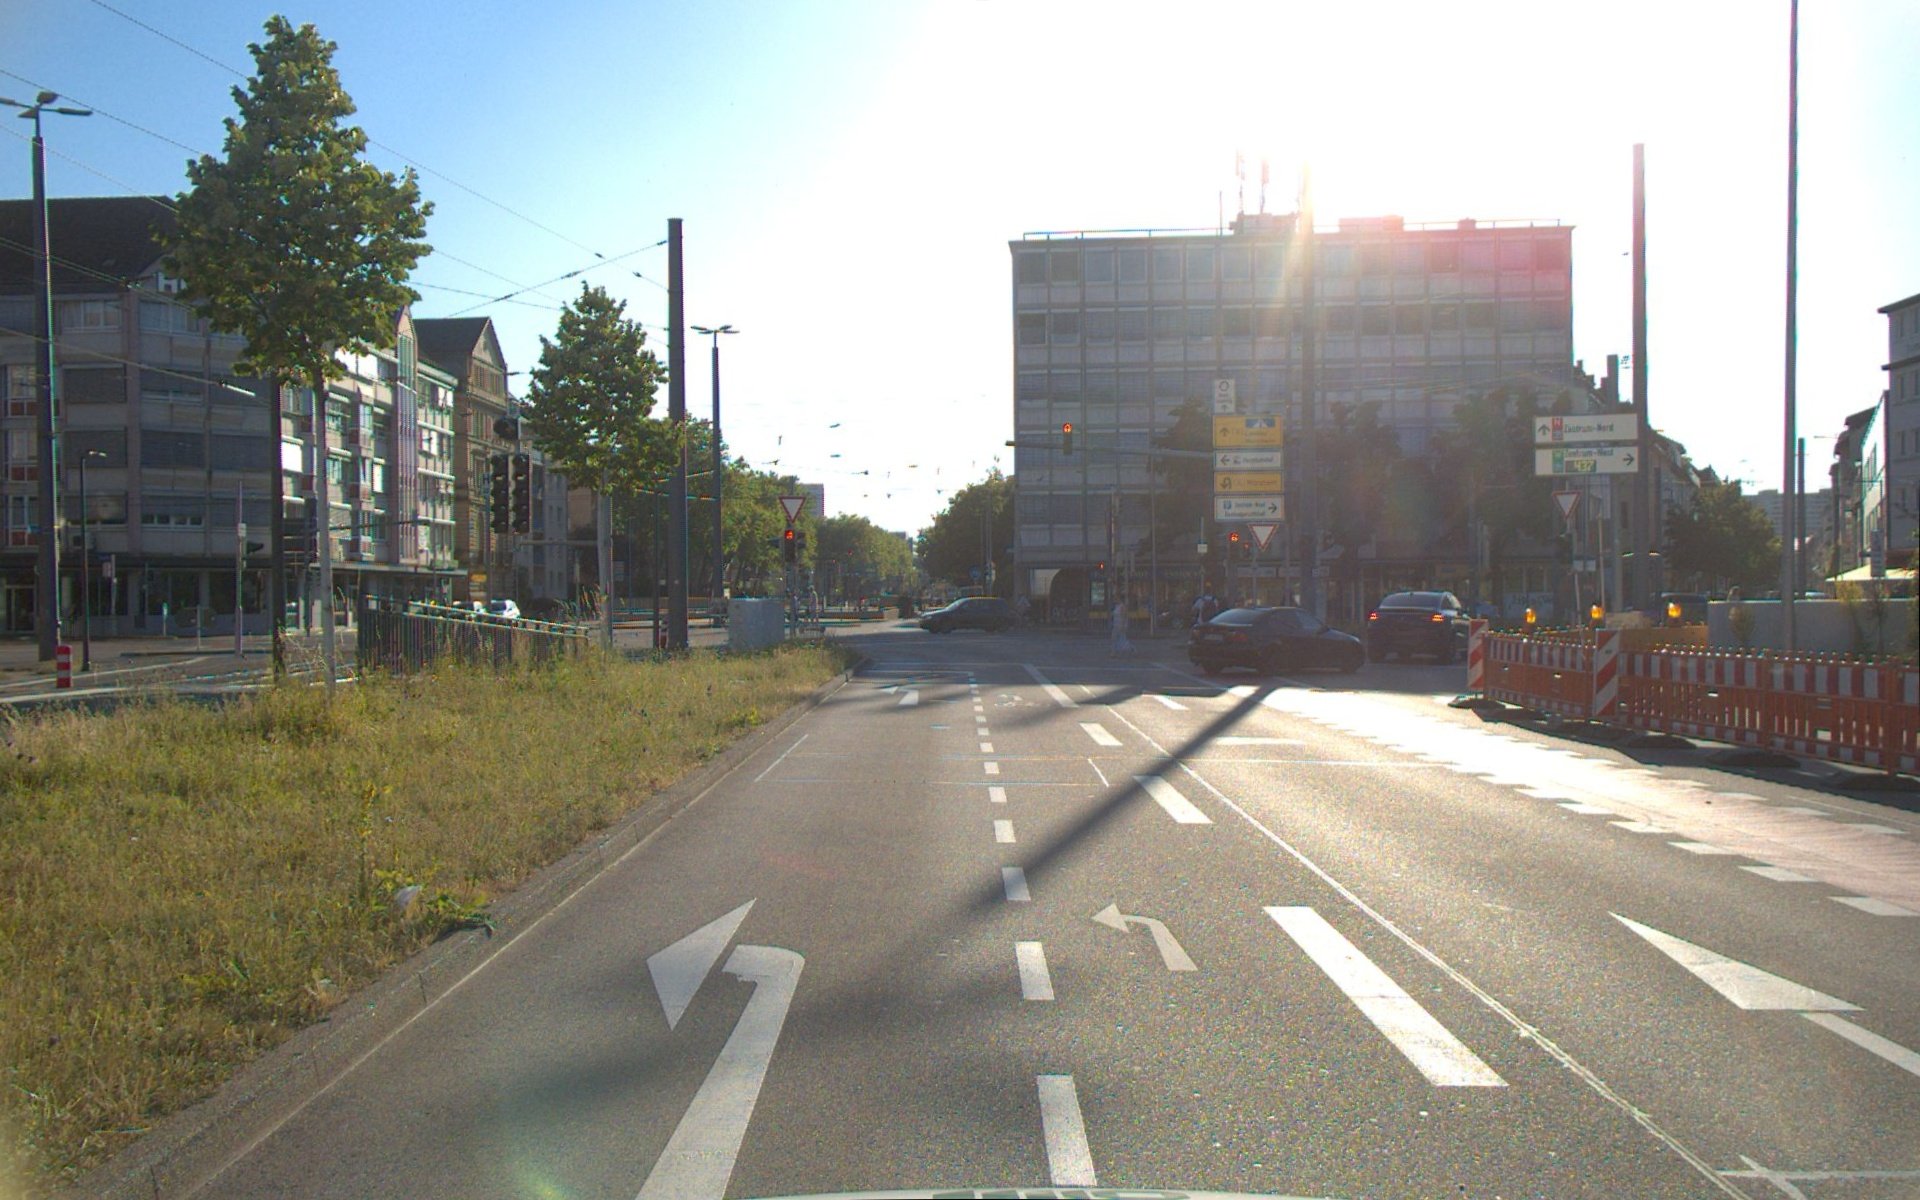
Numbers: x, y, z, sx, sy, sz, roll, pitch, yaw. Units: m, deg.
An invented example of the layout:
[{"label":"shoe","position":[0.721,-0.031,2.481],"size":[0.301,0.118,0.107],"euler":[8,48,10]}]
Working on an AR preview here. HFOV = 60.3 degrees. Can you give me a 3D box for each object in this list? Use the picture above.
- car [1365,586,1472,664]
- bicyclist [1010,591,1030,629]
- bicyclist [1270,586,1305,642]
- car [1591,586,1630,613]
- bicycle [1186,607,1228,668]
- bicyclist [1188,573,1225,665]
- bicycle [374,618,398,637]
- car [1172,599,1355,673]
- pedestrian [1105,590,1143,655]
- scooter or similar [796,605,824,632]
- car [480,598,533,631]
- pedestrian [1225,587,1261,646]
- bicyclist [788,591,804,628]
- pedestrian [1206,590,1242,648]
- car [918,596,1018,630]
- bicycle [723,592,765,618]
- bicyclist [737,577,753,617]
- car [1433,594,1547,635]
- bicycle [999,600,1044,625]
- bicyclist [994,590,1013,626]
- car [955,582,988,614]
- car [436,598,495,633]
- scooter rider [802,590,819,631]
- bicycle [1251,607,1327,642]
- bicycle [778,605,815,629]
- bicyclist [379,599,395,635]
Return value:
[{"label":"car","position":[11.280,0.559,40.513],"size":[1.954,1.723,3.998],"euler":[1,1,24]},{"label":"bicyclist","position":[2.844,0.476,78.677],"size":[0.881,1.783,0.654],"euler":[-1,0,-5]},{"label":"bicyclist","position":[9.908,0.420,50.091],"size":[0.939,1.690,0.691],"euler":[0,0,3]},{"label":"car","position":[36.860,-0.043,93.801],"size":[1.952,1.422,4.001],"euler":[-1,0,21]},{"label":"bicycle","position":[5.564,0.828,37.405],"size":[0.631,1.244,2.049],"euler":[1,2,0]},{"label":"bicyclist","position":[5.590,0.420,37.535],"size":[0.630,2.048,1.067],"euler":[1,1,0]},{"label":"bicycle","position":[-30.353,1.442,87.434],"size":[0.586,0.931,1.836],"euler":[-1,0,1]},{"label":"car","position":[6.401,0.719,34.679],"size":[3.964,1.451,1.723],"euler":[0,0,-41]},{"label":"pedestrian","position":[4.162,0.567,41.980],"size":[0.860,1.625,0.655],"euler":[-1,0,-1]},{"label":"scooter or similar","position":[-6.354,0.774,70.152],"size":[1.150,1.091,0.528],"euler":[-1,0,-10]},{"label":"car","position":[-27.439,0.878,100.223],"size":[1.952,1.892,4.001],"euler":[-1,0,2]},{"label":"pedestrian","position":[7.886,0.446,46.148],"size":[0.861,1.625,0.655],"euler":[-1,0,-3]},{"label":"bicyclist","position":[-7.680,0.443,77.509],"size":[0.651,1.742,0.537],"euler":[-1,0,-10]},{"label":"pedestrian","position":[7.488,0.526,46.892],"size":[0.861,1.625,0.655],"euler":[-1,0,-3]},{"label":"car","position":[0.336,0.522,69.291],"size":[3.915,1.310,1.842],"euler":[-1,0,-11]},{"label":"bicycle","position":[-9.430,0.208,72.202],"size":[1.743,1.091,0.534],"euler":[-1,0,-11]},{"label":"bicyclist","position":[-9.399,-0.130,72.215],"size":[0.651,1.742,0.537],"euler":[-1,0,-10]},{"label":"car","position":[22.531,0.610,70.417],"size":[4.242,1.624,2.000],"euler":[-1,0,1]},{"label":"bicycle","position":[2.941,0.588,78.687],"size":[2.053,1.157,0.658],"euler":[-1,0,-5]},{"label":"bicyclist","position":[2.254,0.409,85.233],"size":[0.881,1.783,0.650],"euler":[-1,0,-5]},{"label":"car","position":[0.913,-0.152,135.496],"size":[2.435,2.434,5.933],"euler":[-2,0,-1]},{"label":"car","position":[-27.571,0.851,92.312],"size":[1.952,1.892,4.001],"euler":[-1,0,2]},{"label":"scooter rider","position":[-6.339,0.443,70.155],"size":[0.651,1.742,0.525],"euler":[-1,0,-10]},{"label":"bicycle","position":[9.943,0.741,50.093],"size":[2.180,1.044,0.682],"euler":[0,0,3]},{"label":"bicycle","position":[-7.658,0.786,77.510],"size":[1.700,1.078,0.538],"euler":[-1,0,-11]},{"label":"bicyclist","position":[-30.353,0.876,87.630],"size":[0.580,1.894,0.642],"euler":[-1,0,1]}]
